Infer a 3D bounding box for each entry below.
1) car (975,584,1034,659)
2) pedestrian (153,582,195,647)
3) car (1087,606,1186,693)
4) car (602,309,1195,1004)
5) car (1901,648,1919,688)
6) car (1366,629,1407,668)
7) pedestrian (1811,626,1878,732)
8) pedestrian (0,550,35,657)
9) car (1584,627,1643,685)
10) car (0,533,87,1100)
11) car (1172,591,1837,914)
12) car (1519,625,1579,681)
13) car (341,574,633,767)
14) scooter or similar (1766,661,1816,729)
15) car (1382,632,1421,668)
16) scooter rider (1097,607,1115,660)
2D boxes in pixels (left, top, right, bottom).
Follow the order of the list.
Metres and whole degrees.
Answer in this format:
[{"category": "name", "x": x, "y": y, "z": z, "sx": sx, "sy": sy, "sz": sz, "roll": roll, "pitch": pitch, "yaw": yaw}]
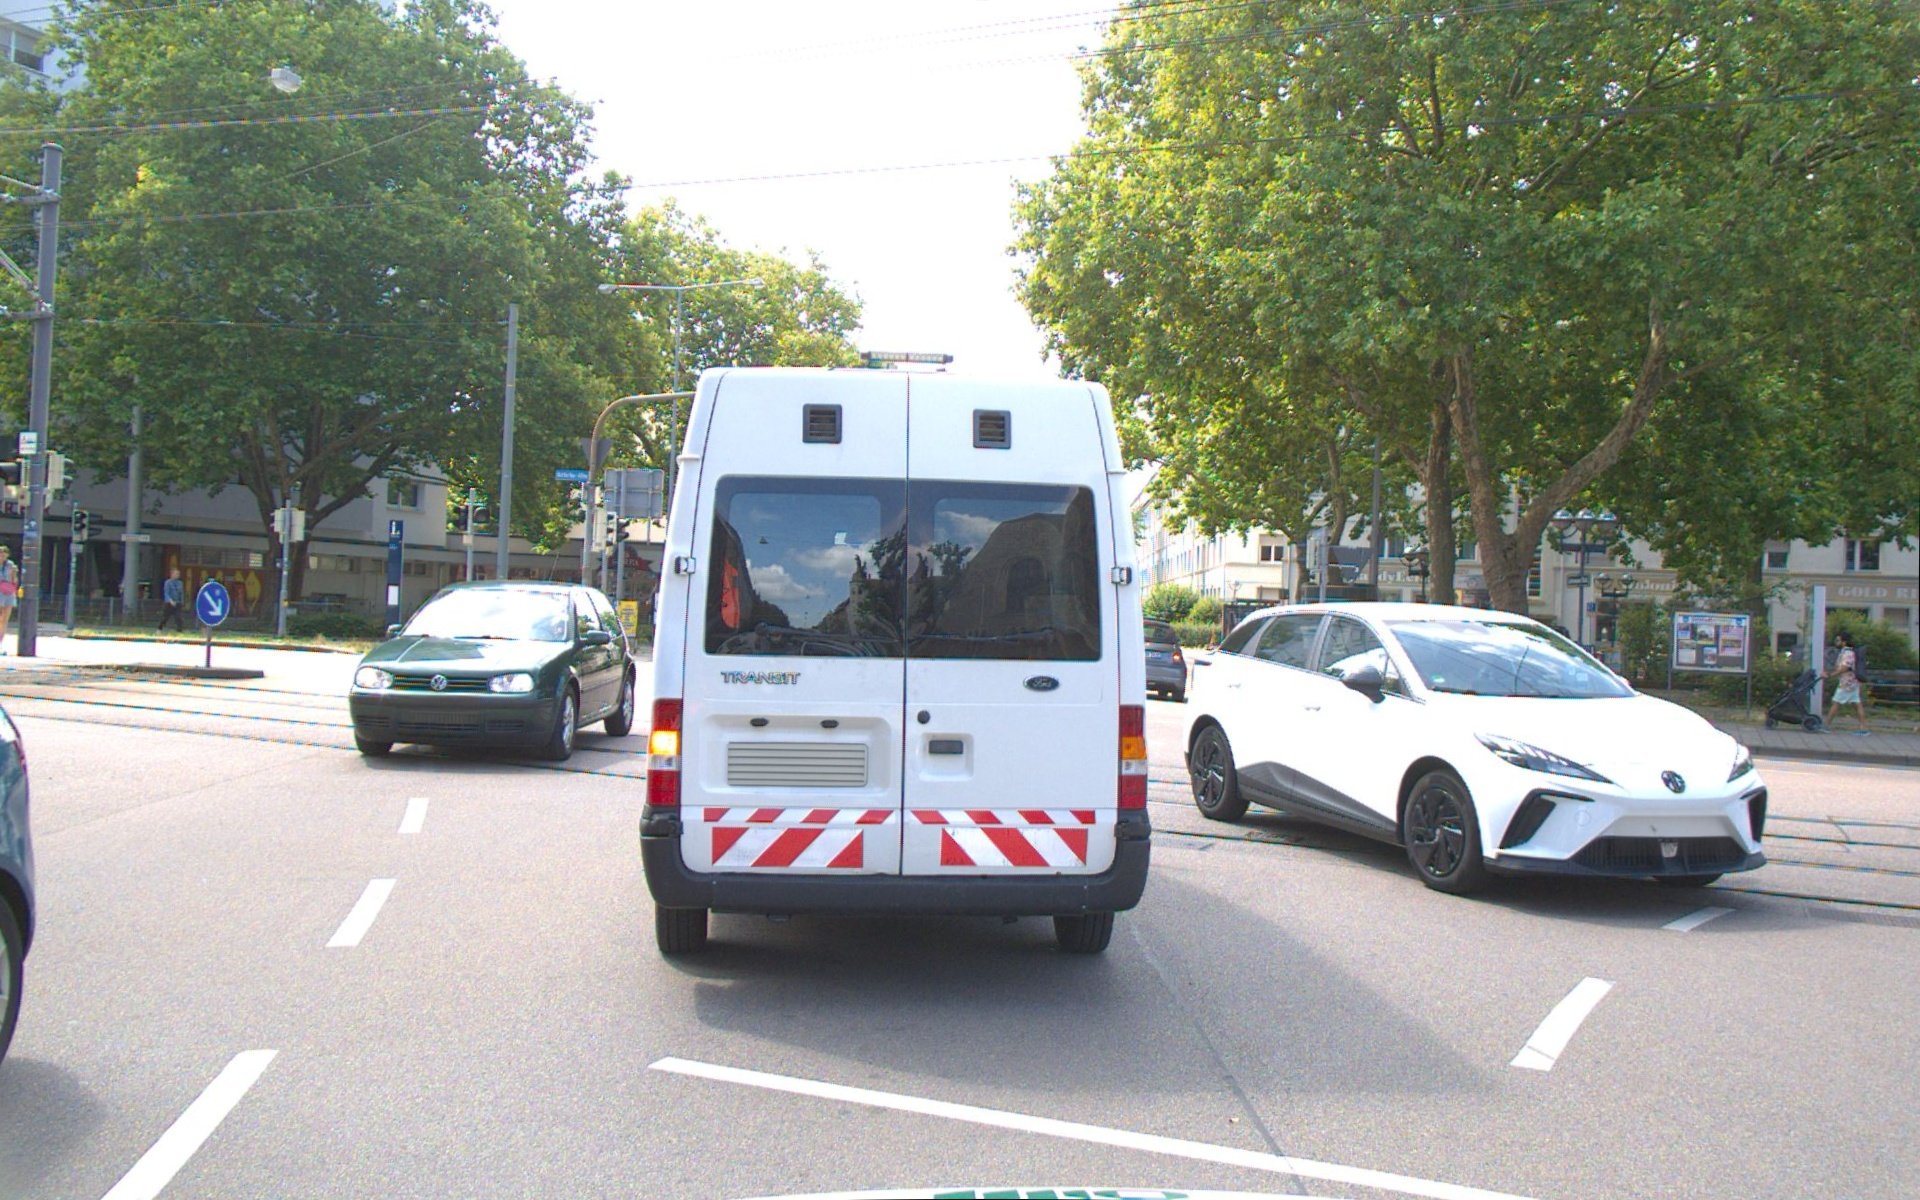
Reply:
[{"category": "car", "x": 1.726, "y": 0.796, "z": 64.165, "sx": 2.076, "sy": 2.687, "sz": 6.329, "roll": 2, "pitch": 0, "yaw": 2}, {"category": "pedestrian", "x": -20.090, "y": 0.359, "z": 42.272, "sx": 0.766, "sy": 1.626, "sz": 0.535, "roll": 2, "pitch": -1, "yaw": 21}, {"category": "car", "x": 3.499, "y": 0.949, "z": 33.286, "sx": 1.657, "sy": 1.564, "sz": 3.469, "roll": 2, "pitch": 0, "yaw": 1}, {"category": "car", "x": -0.421, "y": 0.202, "z": 8.149, "sx": 2.007, "sy": 2.373, "sz": 4.709, "roll": 2, "pitch": 0, "yaw": -6}, {"category": "car", "x": 41.069, "y": 2.884, "z": 70.116, "sx": 1.704, "sy": 1.666, "sz": 3.997, "roll": 2, "pitch": -1, "yaw": 25}, {"category": "car", "x": 16.577, "y": 1.885, "z": 64.288, "sx": 1.434, "sy": 1.413, "sz": 3.069, "roll": 2, "pitch": -1, "yaw": 15}, {"category": "pedestrian", "x": 14.561, "y": 1.285, "z": 27.238, "sx": 0.902, "sy": 1.674, "sz": 0.570, "roll": 2, "pitch": -1, "yaw": 25}, {"category": "pedestrian", "x": -15.233, "y": 0.052, "z": 26.367, "sx": 0.664, "sy": 1.695, "sz": 0.622, "roll": 2, "pitch": -1, "yaw": 42}, {"category": "car", "x": 25.638, "y": 2.170, "z": 64.779, "sx": 1.954, "sy": 2.112, "sz": 3.998, "roll": 2, "pitch": -1, "yaw": 24}, {"category": "car", "x": -3.437, "y": 0.601, "z": 3.064, "sx": 1.712, "sy": 1.567, "sz": 3.929, "roll": 0, "pitch": 0, "yaw": -3}, {"category": "car", "x": 3.007, "y": 0.748, "z": 10.150, "sx": 1.786, "sy": 1.532, "sz": 4.110, "roll": 2, "pitch": 0, "yaw": -18}, {"category": "car", "x": 23.564, "y": 2.110, "z": 66.089, "sx": 1.954, "sy": 2.112, "sz": 3.998, "roll": 2, "pitch": -1, "yaw": 24}, {"category": "car", "x": -3.961, "y": 0.528, "z": 14.466, "sx": 1.679, "sy": 1.458, "sz": 3.815, "roll": 1, "pitch": 0, "yaw": -4}, {"category": "scooter or similar", "x": 13.857, "y": 1.573, "z": 27.590, "sx": 0.692, "sy": 1.074, "sz": 0.490, "roll": 2, "pitch": -1, "yaw": 25}, {"category": "car", "x": 18.080, "y": 2.034, "z": 67.713, "sx": 1.434, "sy": 1.413, "sz": 3.237, "roll": 2, "pitch": -1, "yaw": 16}, {"category": "scooter rider", "x": 5.197, "y": 1.191, "z": 59.066, "sx": 0.515, "sy": 1.843, "sz": 0.649, "roll": 2, "pitch": 0, "yaw": -1}]
